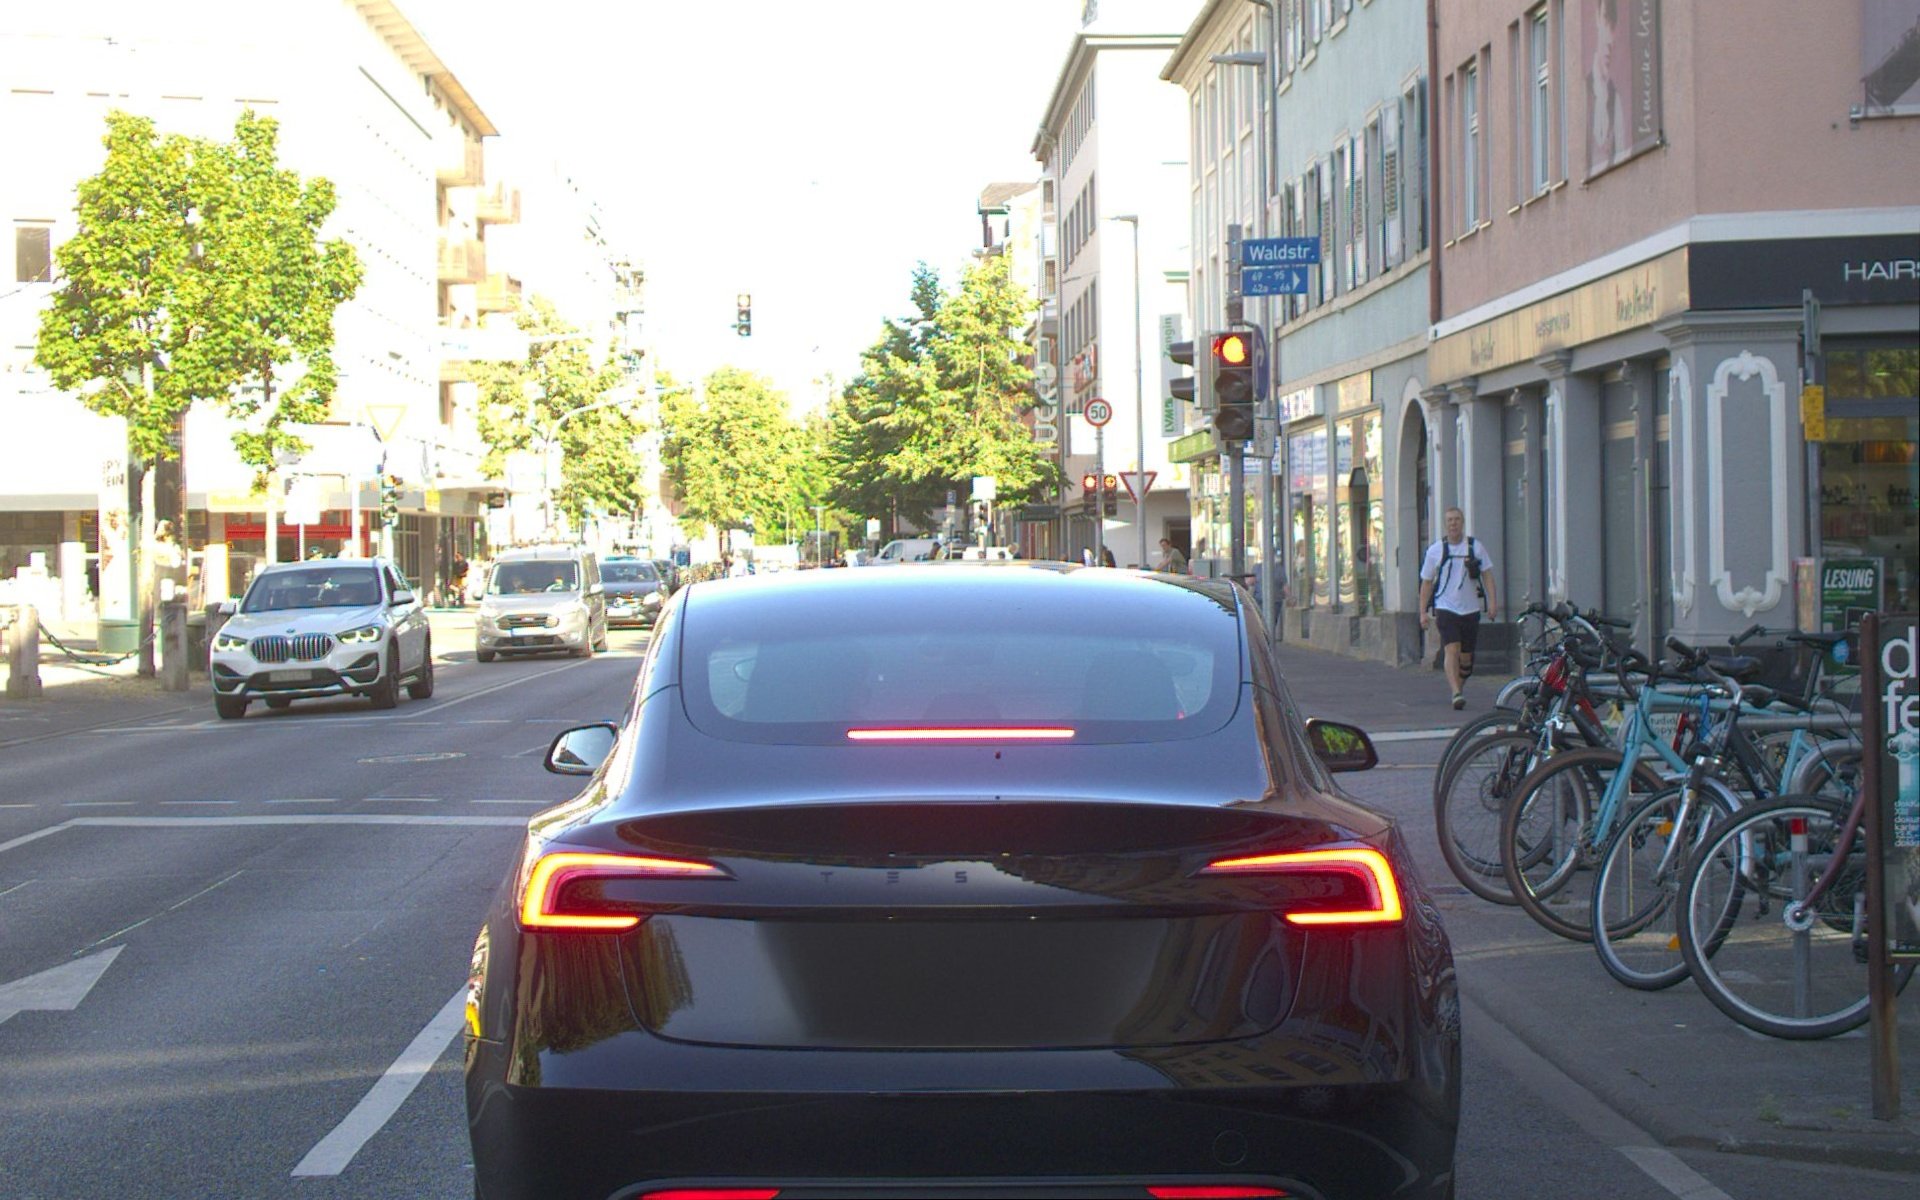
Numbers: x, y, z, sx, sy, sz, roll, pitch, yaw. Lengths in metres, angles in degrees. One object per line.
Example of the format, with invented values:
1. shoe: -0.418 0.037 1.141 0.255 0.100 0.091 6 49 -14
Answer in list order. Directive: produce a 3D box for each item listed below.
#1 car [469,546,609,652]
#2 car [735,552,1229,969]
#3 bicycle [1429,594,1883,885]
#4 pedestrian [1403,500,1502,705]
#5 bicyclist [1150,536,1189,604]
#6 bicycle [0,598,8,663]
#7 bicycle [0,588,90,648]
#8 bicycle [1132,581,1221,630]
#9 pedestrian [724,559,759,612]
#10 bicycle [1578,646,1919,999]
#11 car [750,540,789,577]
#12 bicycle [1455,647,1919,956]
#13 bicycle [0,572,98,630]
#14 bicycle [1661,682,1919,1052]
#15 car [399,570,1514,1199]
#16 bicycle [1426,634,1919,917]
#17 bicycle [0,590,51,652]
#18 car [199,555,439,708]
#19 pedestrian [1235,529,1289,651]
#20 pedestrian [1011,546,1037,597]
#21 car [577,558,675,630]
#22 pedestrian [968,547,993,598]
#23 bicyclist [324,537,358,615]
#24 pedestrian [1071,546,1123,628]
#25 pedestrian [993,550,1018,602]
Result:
1. car: -6.791 -0.047 55.816 1.787 1.640 4.403 0 1 -1
2. car: 0.009 0.533 13.832 1.718 1.420 3.758 0 1 -2
3. bicycle: 2.962 0.591 14.744 1.828 1.165 0.505 -2 0 5
4. pedestrian: 4.346 0.019 30.392 0.750 1.759 0.836 -2 0 4
5. bicyclist: 4.347 -0.620 71.291 0.669 1.390 0.462 1 0 -16
6. bicycle: -14.799 0.434 49.764 1.864 0.931 0.606 1 0 -1
7. bicycle: -14.831 0.287 54.624 1.864 0.931 0.606 0 1 -1
8. bicycle: 4.498 0.116 71.338 1.784 1.003 0.472 1 0 -16
9. pedestrian: -7.001 -0.471 110.128 0.716 1.689 0.850 -1 1 -44
10. bicycle: 2.992 0.701 11.151 1.873 1.084 0.414 -2 0 4
11. car: -10.361 -2.272 187.150 1.993 2.007 4.000 0 1 -1
12. bicycle: 2.777 0.719 12.476 1.873 1.034 0.533 -2 0 4
13. bicycle: -20.780 0.017 77.905 2.361 1.291 0.513 1 0 -26
14. bicycle: 3.021 0.754 9.983 1.873 1.034 0.353 -2 0 6
15. car: -0.028 0.656 7.626 1.822 1.437 4.000 0 1 -1
16. bicycle: 2.821 0.687 13.624 1.873 1.034 0.547 -2 0 5
17. bicycle: -14.803 0.312 52.175 1.864 0.931 0.606 0 1 -1
18. car: -6.670 0.291 36.149 1.789 1.455 3.757 -2 1 0
19. pedestrian: 4.294 -0.144 48.916 0.706 1.736 0.540 0 1 -1
20. pedestrian: 1.786 -0.784 95.751 0.521 1.417 0.479 1 0 -30
21. car: -6.948 -0.136 71.808 1.715 1.441 3.845 1 1 -1
22. pedestrian: 0.566 -0.772 95.771 0.472 1.412 0.522 1 0 -31
23. bicyclist: -11.896 -0.463 66.071 0.522 1.498 0.476 1 0 -24
24. pedestrian: 2.758 -0.264 69.361 0.754 1.626 0.956 1 0 -18
25. pedestrian: 1.258 -0.659 95.239 0.521 1.417 0.479 1 0 -30
